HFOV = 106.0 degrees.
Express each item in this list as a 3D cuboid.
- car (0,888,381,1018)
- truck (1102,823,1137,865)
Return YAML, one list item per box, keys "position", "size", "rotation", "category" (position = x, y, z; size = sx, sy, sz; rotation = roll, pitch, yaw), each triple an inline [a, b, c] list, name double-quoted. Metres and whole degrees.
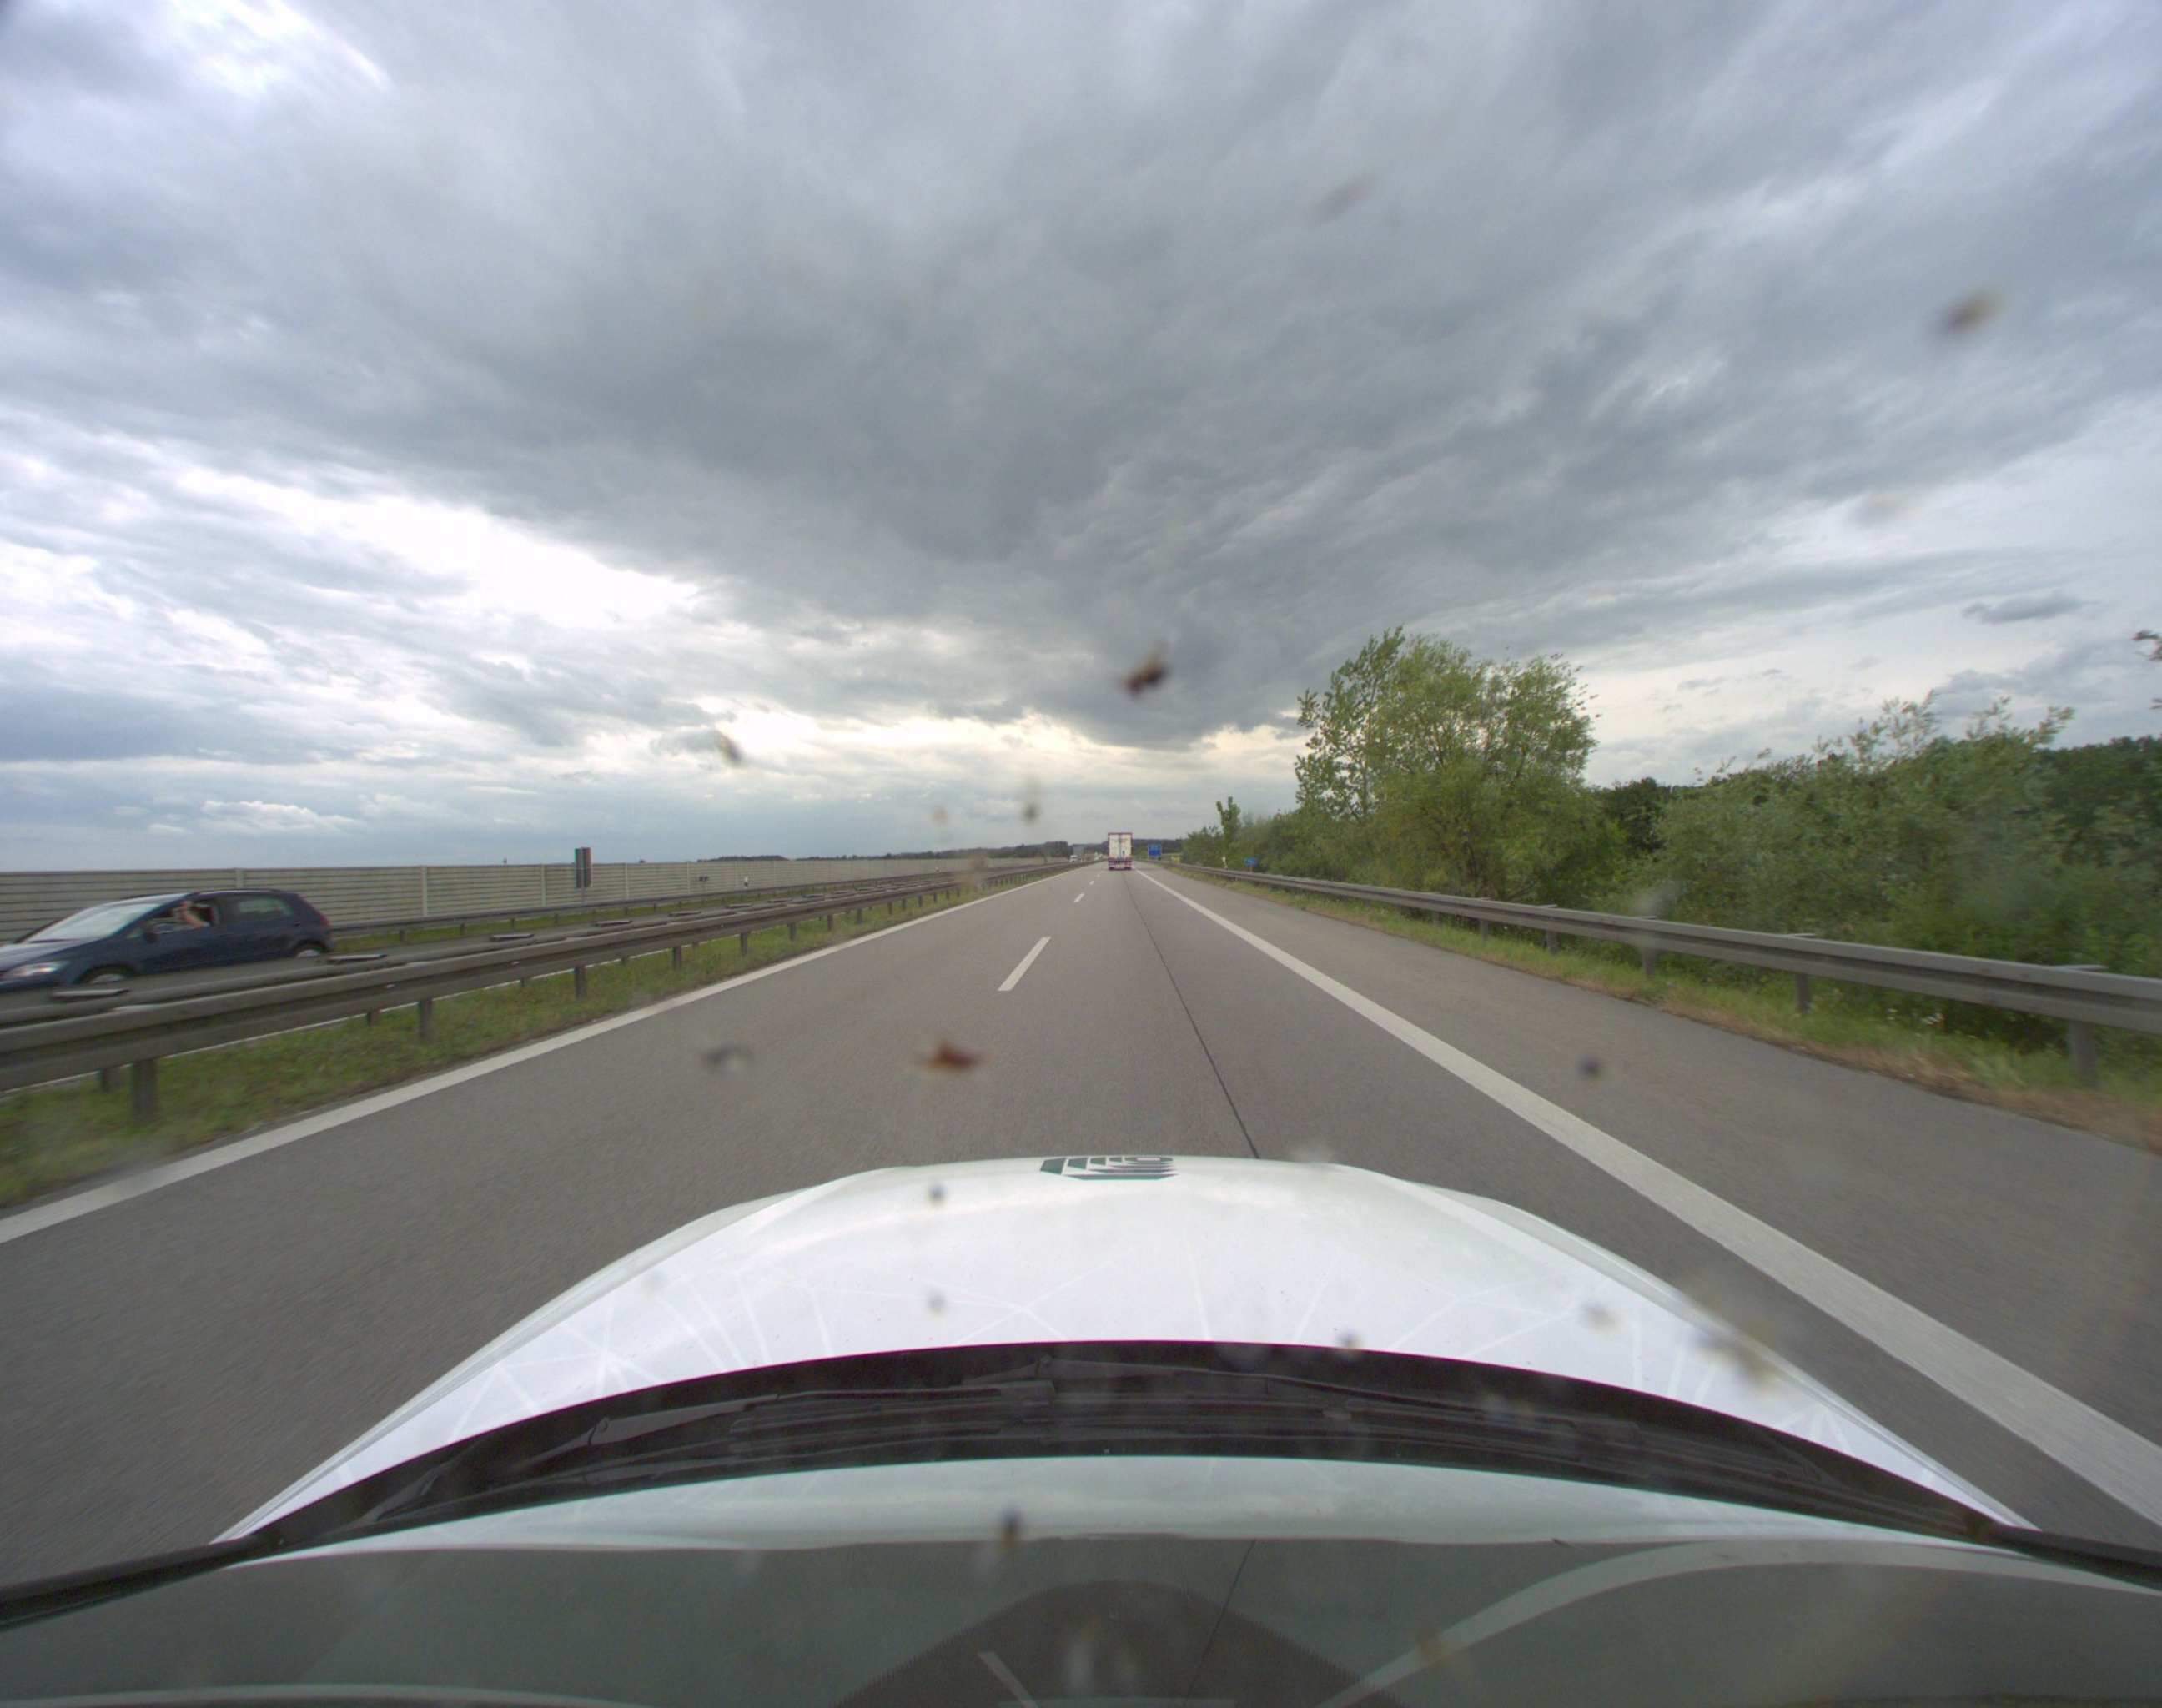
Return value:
- position: [-13.410, 1.359, 12.175]
  size: [1.652, 1.328, 4.611]
  rotation: [-6, 0, 2]
  category: "car"
- position: [4.348, -1.062, 94.750]
  size: [3.659, 4.412, 16.347]
  rotation: [-2, 0, 2]
  category: "truck"
